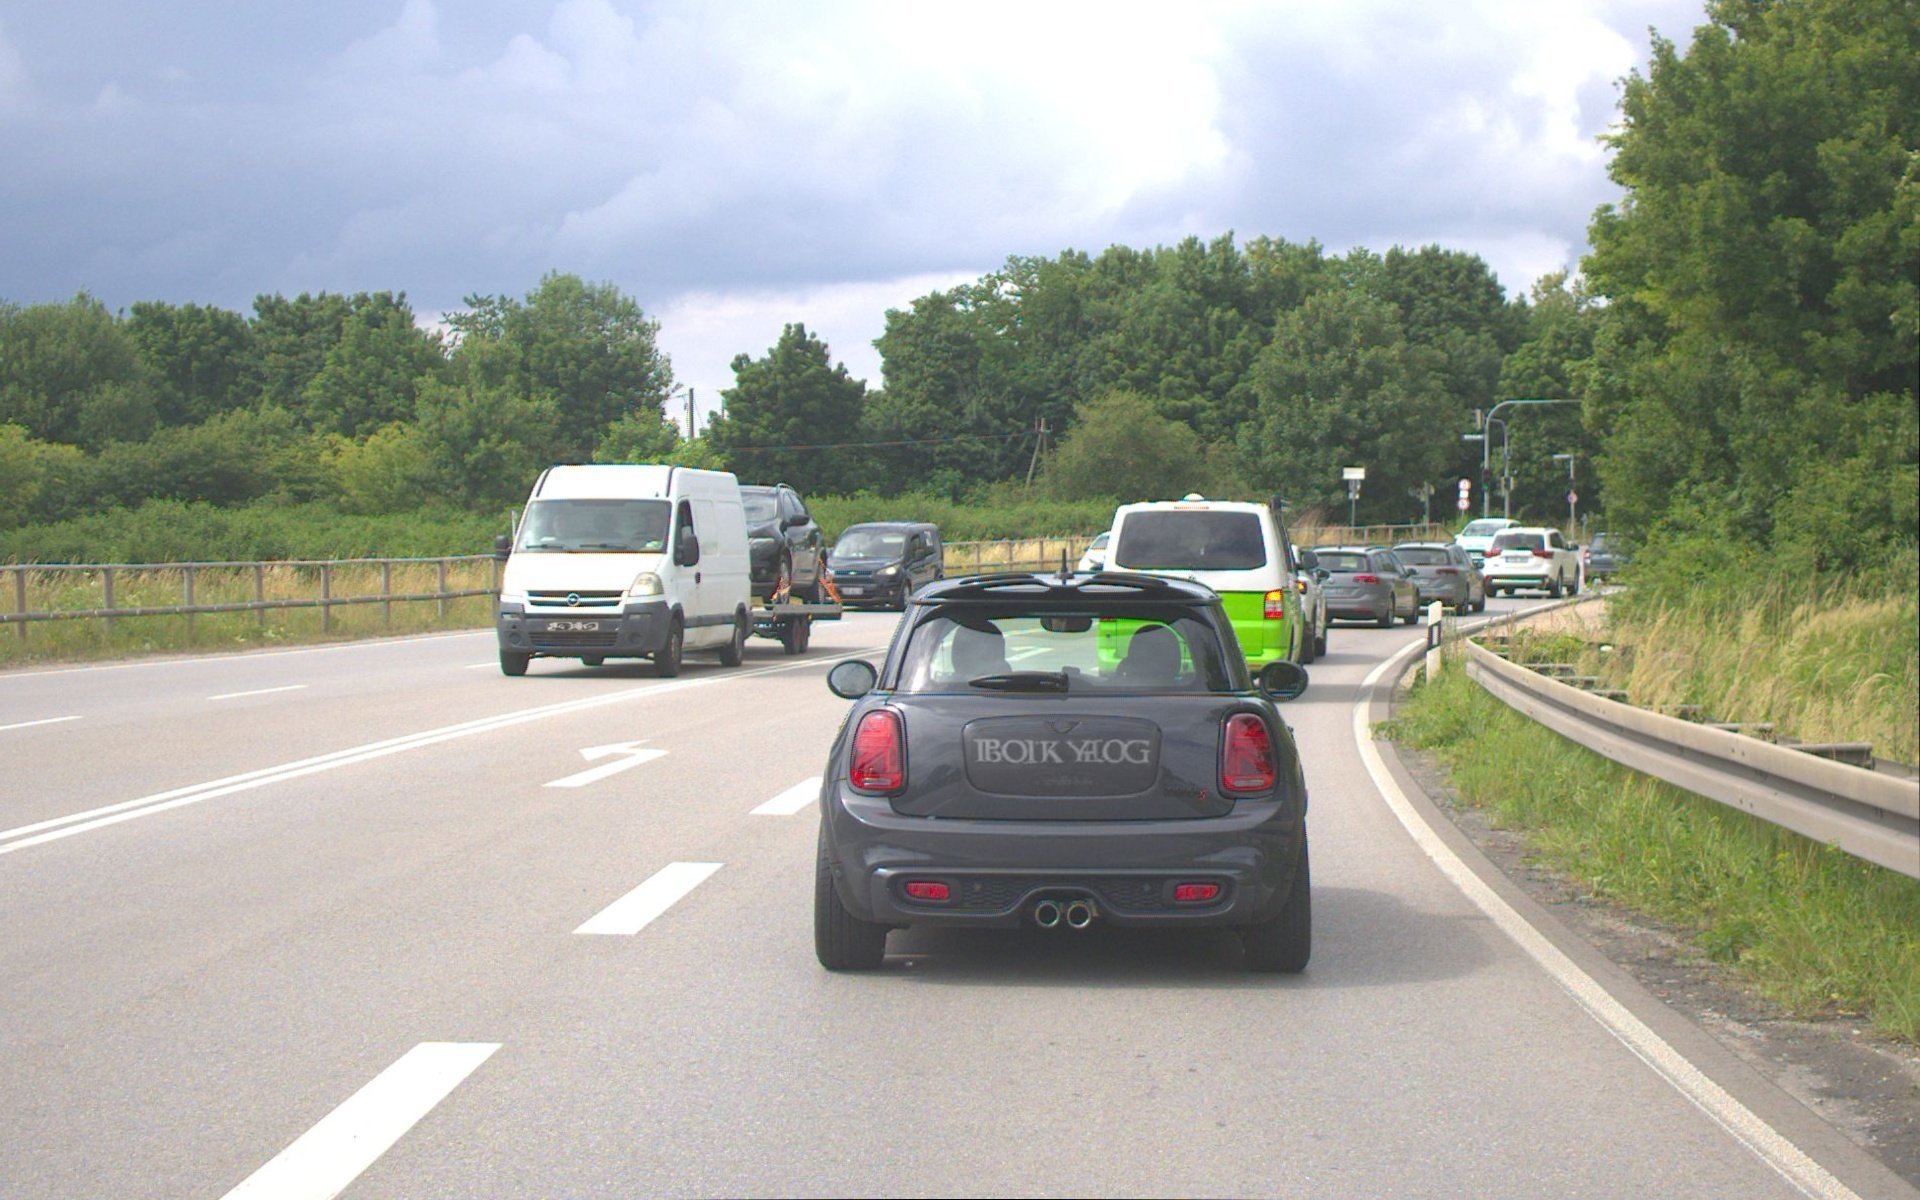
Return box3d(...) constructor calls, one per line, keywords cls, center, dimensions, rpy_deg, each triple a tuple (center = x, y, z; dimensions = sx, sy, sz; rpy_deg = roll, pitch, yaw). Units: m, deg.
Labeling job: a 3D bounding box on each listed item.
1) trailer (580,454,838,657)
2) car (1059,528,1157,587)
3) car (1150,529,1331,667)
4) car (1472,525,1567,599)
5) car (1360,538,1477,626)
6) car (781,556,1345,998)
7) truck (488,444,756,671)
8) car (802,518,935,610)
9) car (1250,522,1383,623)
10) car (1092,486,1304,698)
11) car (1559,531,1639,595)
box3d(cls="trailer", center=(-3.182, -0.609, 45.250), dimensions=(2.024, 2.436, 6.964), rpy_deg=(1, 1, 7))
box3d(cls="car", center=(3.882, -1.118, 89.663), dimensions=(1.877, 1.484, 3.741), rpy_deg=(1, 1, 13))
box3d(cls="car", center=(3.678, -0.041, 44.468), dimensions=(1.994, 1.678, 3.998), rpy_deg=(1, 1, 9))
box3d(cls="car", center=(13.484, -0.904, 82.708), dimensions=(1.995, 1.678, 3.998), rpy_deg=(2, 1, 12))
box3d(cls="car", center=(9.401, -0.374, 70.305), dimensions=(1.995, 1.678, 3.975), rpy_deg=(2, 1, 12))
box3d(cls="car", center=(0.384, 0.564, 13.360), dimensions=(1.845, 1.423, 3.841), rpy_deg=(1, 1, 1))
box3d(cls="truck", center=(-3.841, -0.510, 40.004), dimensions=(2.024, 2.436, 5.023), rpy_deg=(1, 1, 7))
box3d(cls="car", center=(-1.803, -0.762, 69.525), dimensions=(1.994, 1.791, 4.318), rpy_deg=(1, 1, 8))
box3d(cls="car", center=(6.373, -0.493, 61.106), dimensions=(1.994, 1.678, 3.998), rpy_deg=(2, 1, 10))
box3d(cls="car", center=(2.452, -0.092, 34.596), dimensions=(1.845, 1.980, 3.840), rpy_deg=(1, 1, 8))
box3d(cls="car", center=(17.719, -1.021, 95.258), dimensions=(1.995, 1.678, 3.998), rpy_deg=(2, 1, 12))
